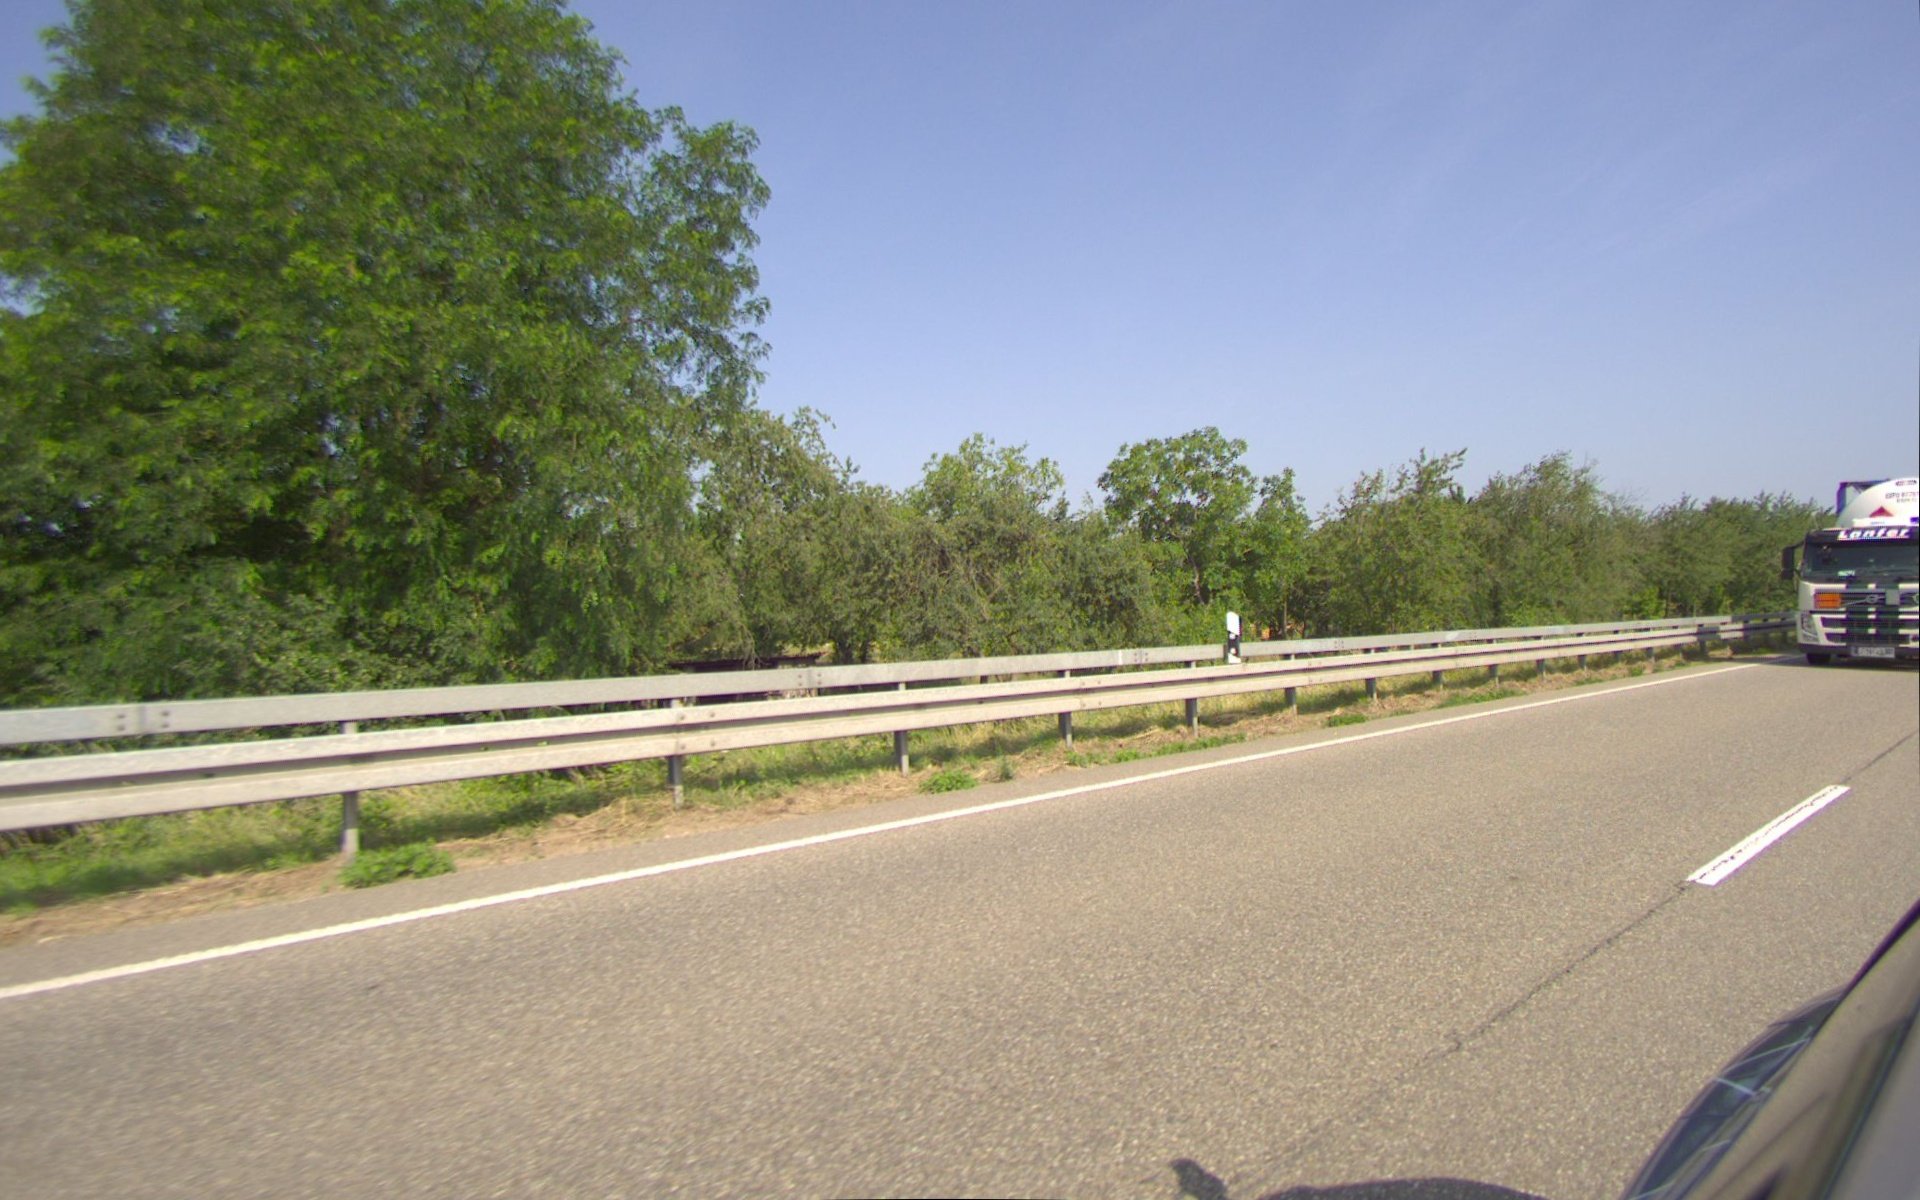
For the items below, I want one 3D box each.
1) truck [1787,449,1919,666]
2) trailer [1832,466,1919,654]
[{"bbox_3d":[19.556,-0.850,20.959,5.528,4.011,2.778,-1,1,-40],"label":"truck"},{"bbox_3d":[23.665,-0.940,24.384,8.041,4.041,2.762,-1,1,-40],"label":"trailer"}]
